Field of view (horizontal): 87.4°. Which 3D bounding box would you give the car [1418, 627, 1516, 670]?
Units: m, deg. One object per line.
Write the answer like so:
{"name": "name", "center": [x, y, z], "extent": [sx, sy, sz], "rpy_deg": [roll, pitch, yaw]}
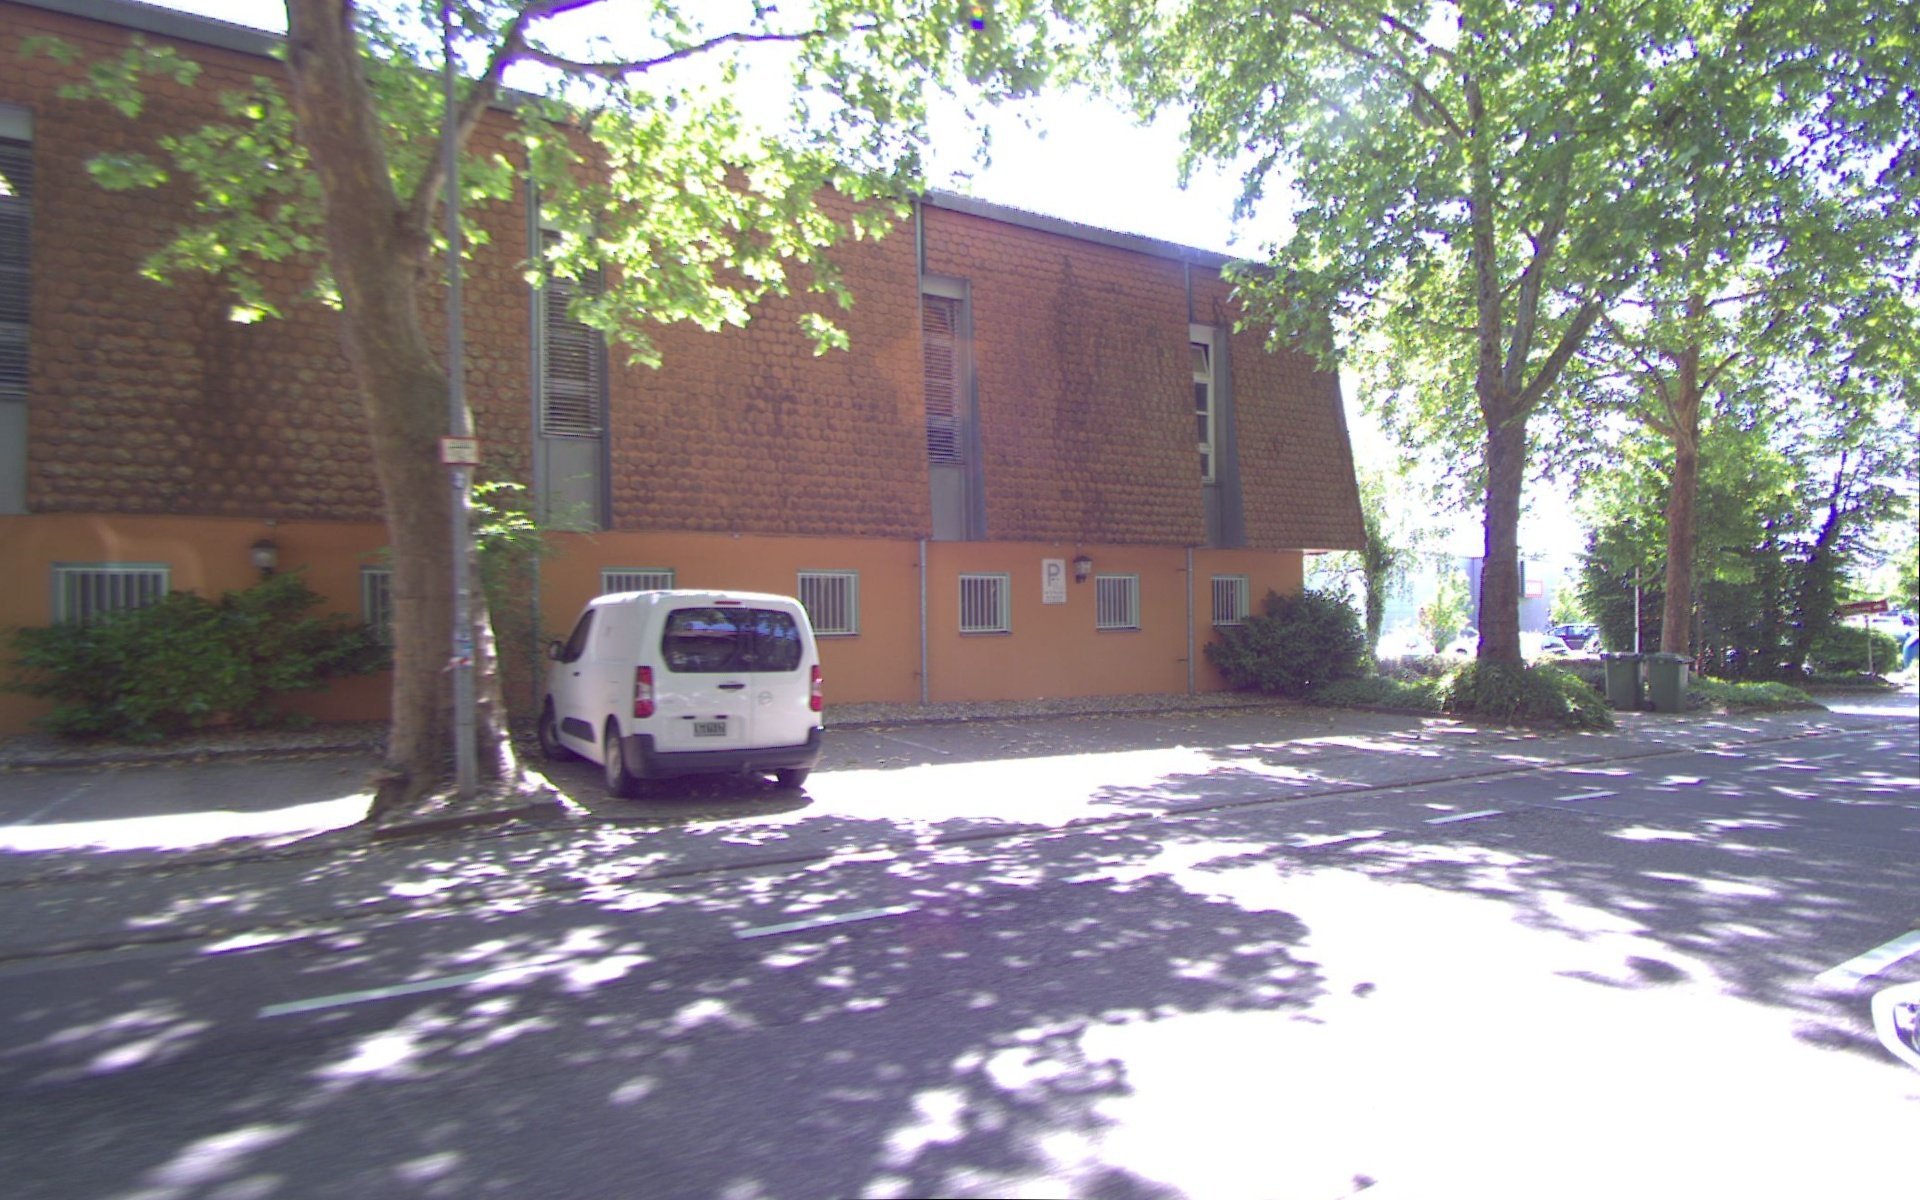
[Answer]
{"name": "car", "center": [25.082, 2.406, 49.754], "extent": [3.946, 2.040, 1.988], "rpy_deg": [-1, -4, 45]}

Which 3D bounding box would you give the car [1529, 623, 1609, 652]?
{"name": "car", "center": [34.606, 2.146, 57.141], "extent": [3.711, 1.606, 1.599], "rpy_deg": [-1, -2, 39]}

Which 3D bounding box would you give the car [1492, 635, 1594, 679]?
{"name": "car", "center": [20.973, 2.007, 36.117], "extent": [3.753, 1.479, 1.708], "rpy_deg": [1, -2, -34]}

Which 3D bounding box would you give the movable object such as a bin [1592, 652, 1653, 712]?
{"name": "movable object such as a bin", "center": [12.664, 1.547, 19.201], "extent": [0.693, 1.092, 0.731], "rpy_deg": [1, -2, -30]}

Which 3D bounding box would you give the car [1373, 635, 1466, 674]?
{"name": "car", "center": [18.459, 2.153, 40.304], "extent": [3.754, 1.479, 1.708], "rpy_deg": [1, -2, -35]}

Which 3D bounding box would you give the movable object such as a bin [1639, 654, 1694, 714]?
{"name": "movable object such as a bin", "center": [13.063, 1.547, 18.575], "extent": [0.613, 1.062, 0.621], "rpy_deg": [1, -2, -30]}

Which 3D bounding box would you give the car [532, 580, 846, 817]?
{"name": "car", "center": [-2.889, 0.777, 10.010], "extent": [1.882, 1.828, 4.105], "rpy_deg": [2, -1, -32]}
